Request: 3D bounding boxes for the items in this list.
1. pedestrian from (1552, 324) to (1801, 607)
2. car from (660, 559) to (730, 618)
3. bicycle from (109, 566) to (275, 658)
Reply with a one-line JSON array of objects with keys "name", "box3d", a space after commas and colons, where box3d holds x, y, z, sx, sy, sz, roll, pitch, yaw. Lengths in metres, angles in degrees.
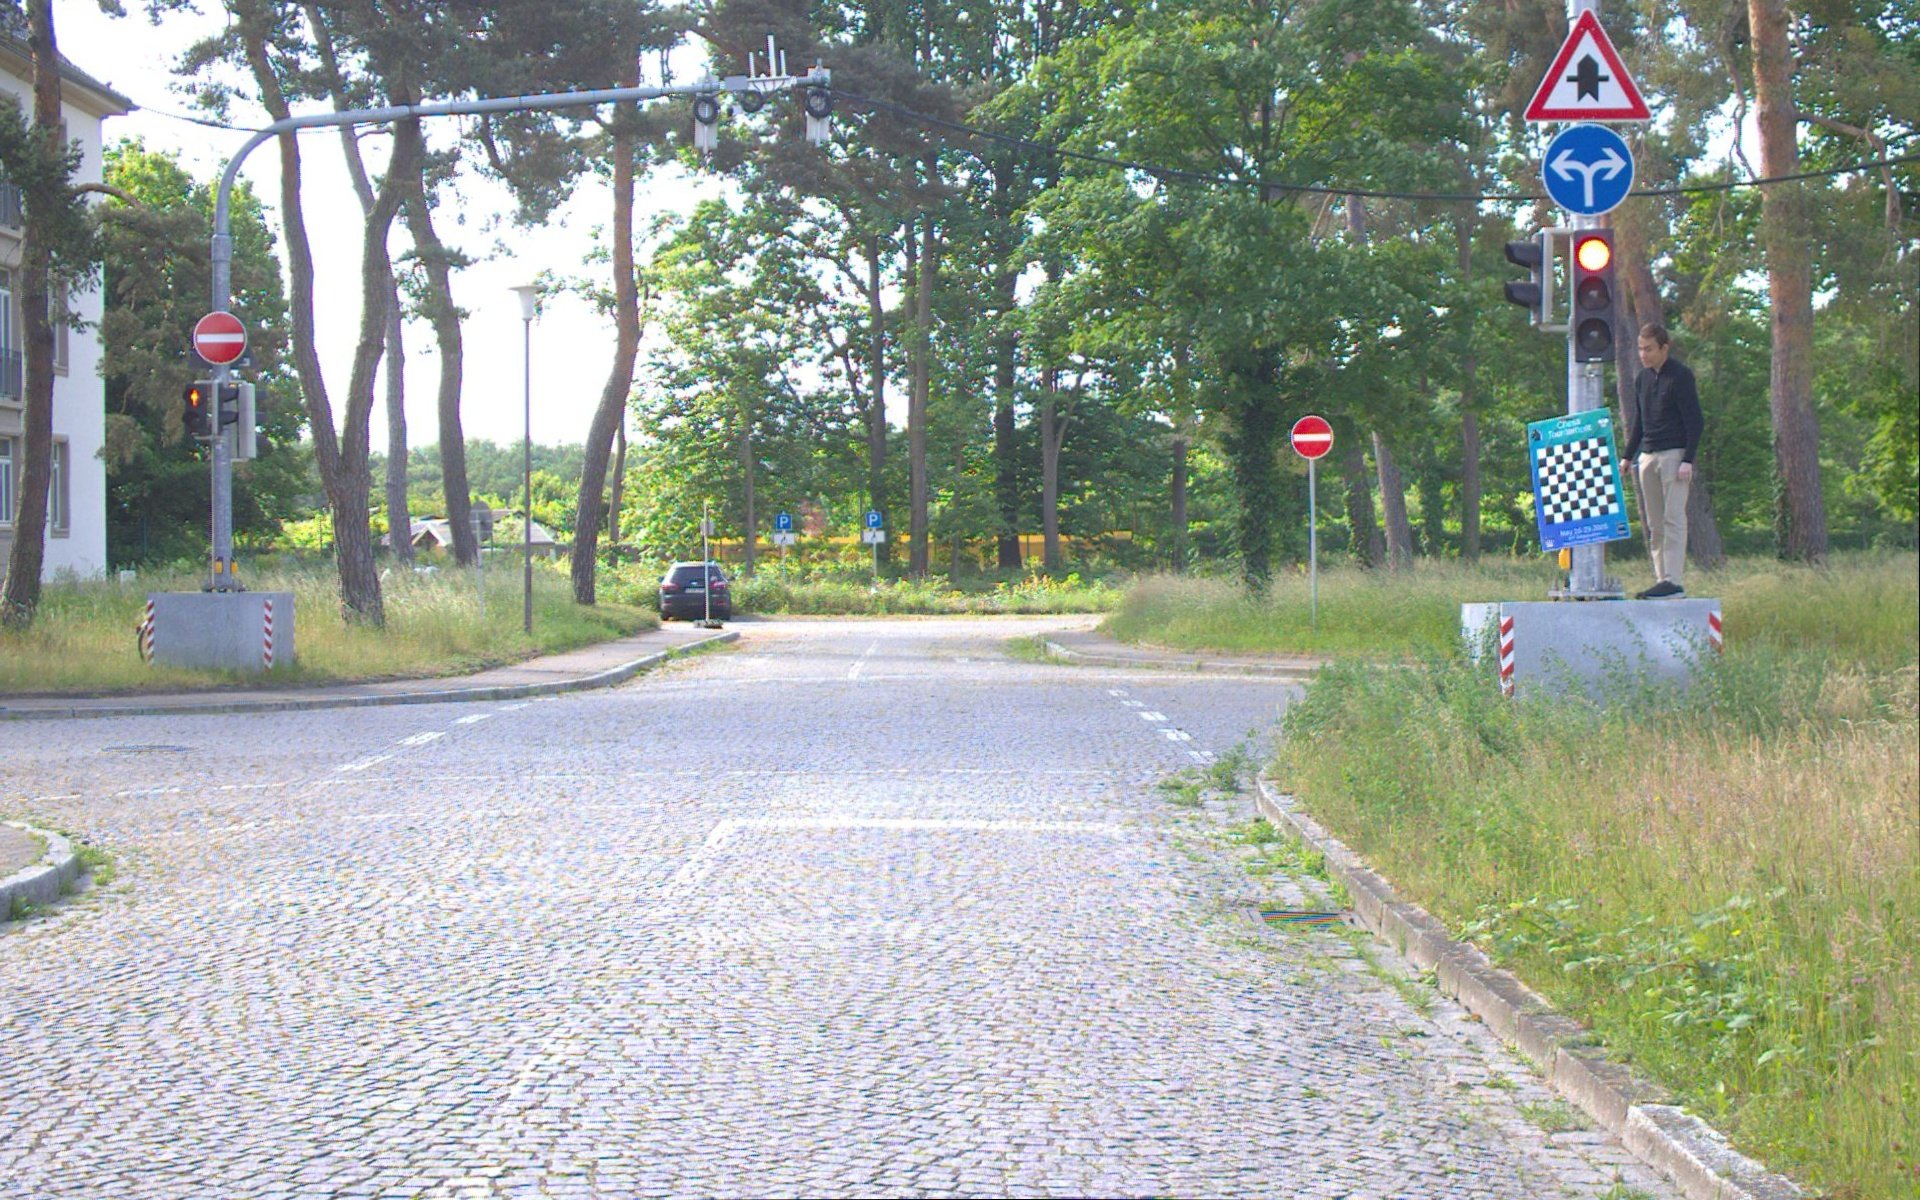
[{"name": "pedestrian", "box3d": [4.695, -0.863, 22.545, 1.060, 1.790, 1.171, -2, 1, -41]}, {"name": "car", "box3d": [-6.935, -0.324, 90.240, 1.709, 1.491, 3.919, 0, 1, -3]}, {"name": "bicycle", "box3d": [-9.111, 0.131, 40.841, 0.634, 1.062, 1.946, 0, 1, 38]}]
